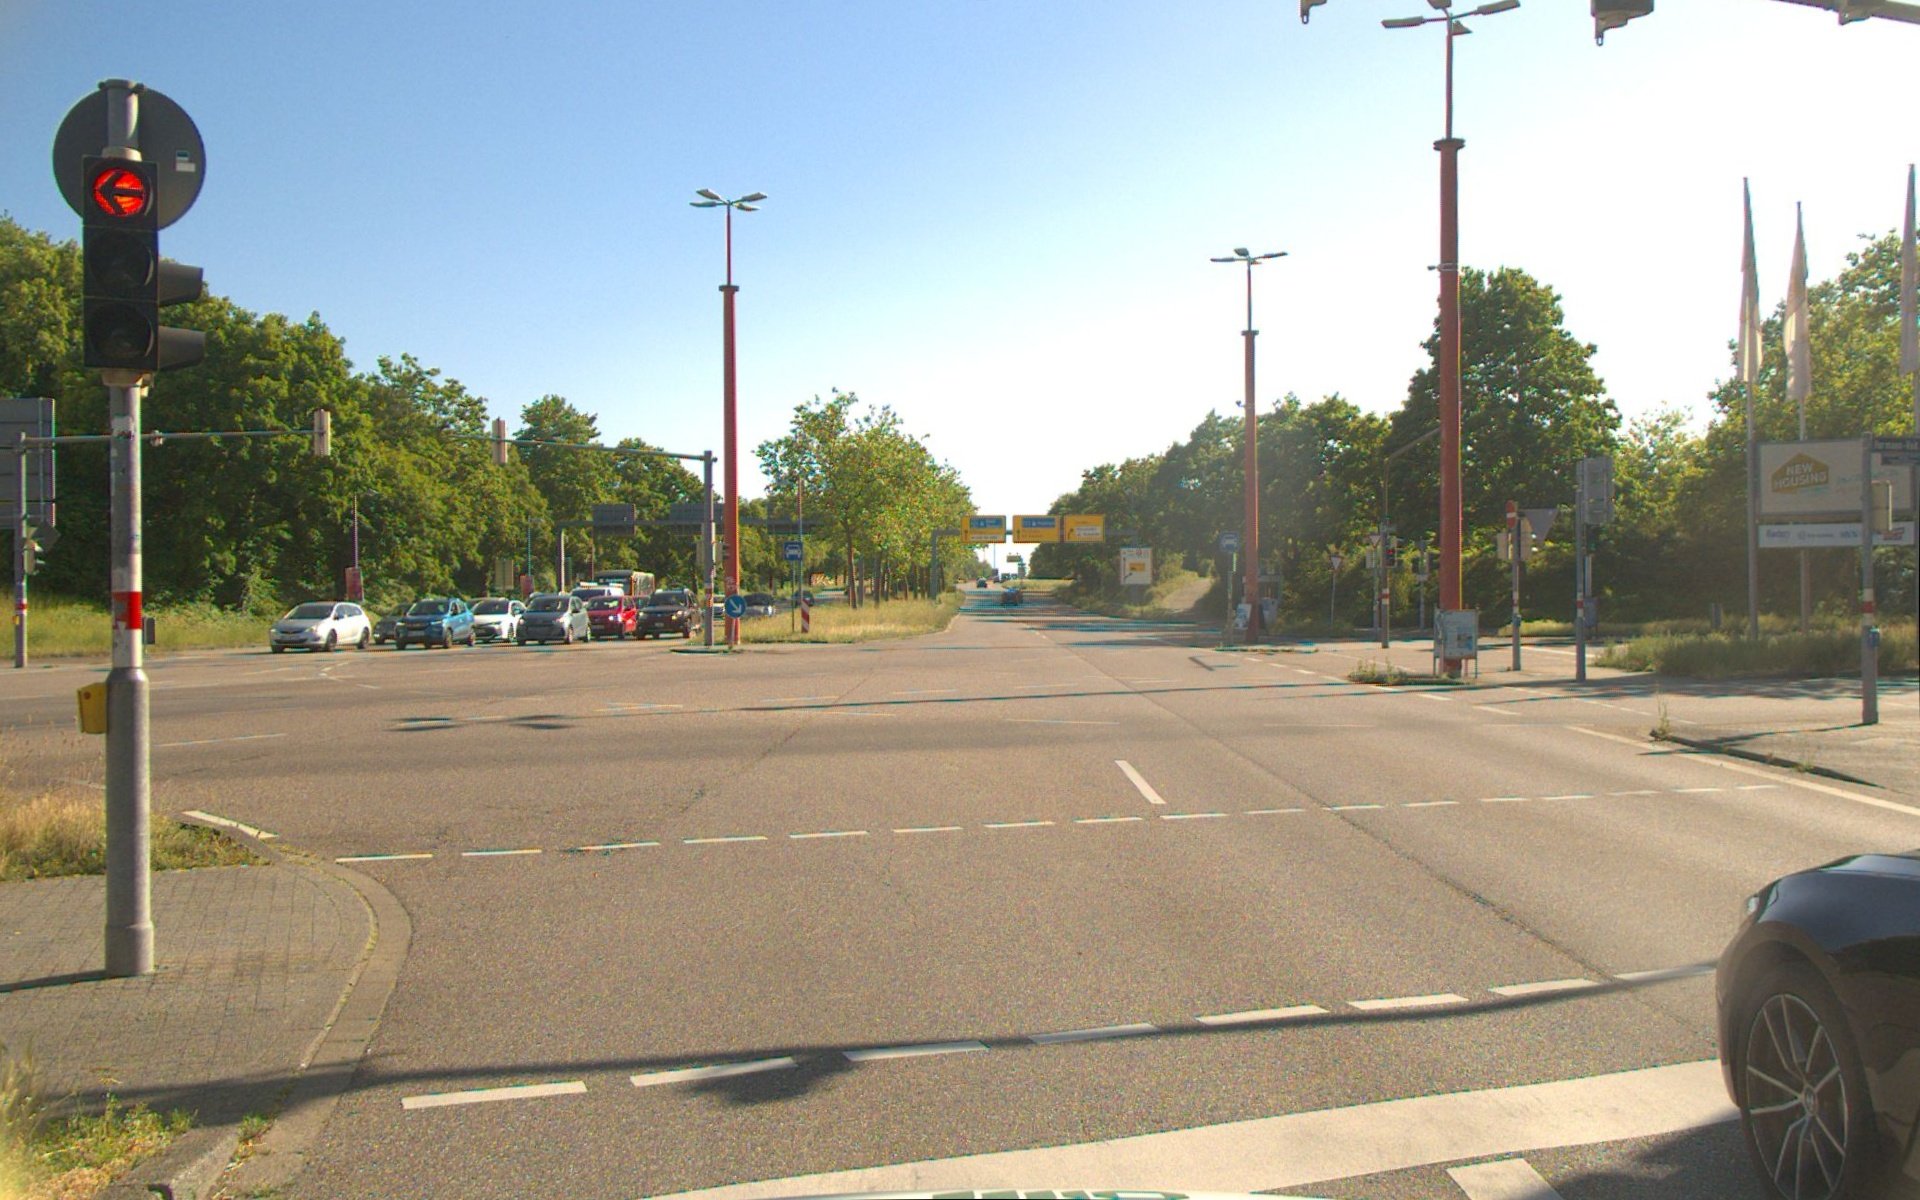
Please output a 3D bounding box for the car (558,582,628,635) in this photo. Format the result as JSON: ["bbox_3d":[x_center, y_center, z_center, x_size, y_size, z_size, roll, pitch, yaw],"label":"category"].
[{"bbox_3d":[-15.617,0.341,70.591,1.922,2.193,5.080,-1,0,-1],"label":"car"}]

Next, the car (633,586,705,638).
[{"bbox_3d":[-9.836,0.394,56.214,1.757,1.654,4.142,-2,0,-2],"label":"car"}]

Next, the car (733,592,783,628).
[{"bbox_3d":[-9.376,0.438,77.100,1.847,1.570,3.999,-2,0,-1],"label":"car"}]

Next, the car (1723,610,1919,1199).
[{"bbox_3d":[2.894,0.764,2.311,1.727,1.466,4.295,1,0,1],"label":"car"}]

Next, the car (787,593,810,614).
[{"bbox_3d":[-15.156,0.308,155.695,1.800,1.869,3.960,-1,0,-1],"label":"car"}]

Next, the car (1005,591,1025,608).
[{"bbox_3d":[5.963,-0.048,180.435,1.953,1.764,3.999,1,0,-1],"label":"car"}]

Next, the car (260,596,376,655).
[{"bbox_3d":[-19.540,0.746,50.545,1.838,1.681,4.219,-1,0,0],"label":"car"}]

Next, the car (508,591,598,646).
[{"bbox_3d":[-12.767,0.560,52.092,1.836,1.577,4.027,-2,1,-1],"label":"car"}]

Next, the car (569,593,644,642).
[{"bbox_3d":[-12.443,0.592,58.434,1.838,1.579,3.998,-3,0,-2],"label":"car"}]

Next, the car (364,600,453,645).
[{"bbox_3d":[-19.886,0.785,59.798,1.846,1.539,4.000,-1,0,0],"label":"car"}]

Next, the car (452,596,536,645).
[{"bbox_3d":[-16.030,0.673,57.032,1.863,1.582,3.998,-1,0,-2],"label":"car"}]

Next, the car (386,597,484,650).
[{"bbox_3d":[-16.102,0.691,50.880,1.764,1.542,3.858,-2,0,0],"label":"car"}]

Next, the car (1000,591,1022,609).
[{"bbox_3d":[5.083,0.014,165.732,1.953,1.764,3.999,1,0,-1],"label":"car"}]

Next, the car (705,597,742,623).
[{"bbox_3d":[-15.224,0.619,106.505,1.847,1.570,3.999,-2,0,-1],"label":"car"}]

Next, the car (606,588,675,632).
[{"bbox_3d":[-12.402,0.377,64.435,1.862,1.658,4.000,0,0,1],"label":"car"}]
